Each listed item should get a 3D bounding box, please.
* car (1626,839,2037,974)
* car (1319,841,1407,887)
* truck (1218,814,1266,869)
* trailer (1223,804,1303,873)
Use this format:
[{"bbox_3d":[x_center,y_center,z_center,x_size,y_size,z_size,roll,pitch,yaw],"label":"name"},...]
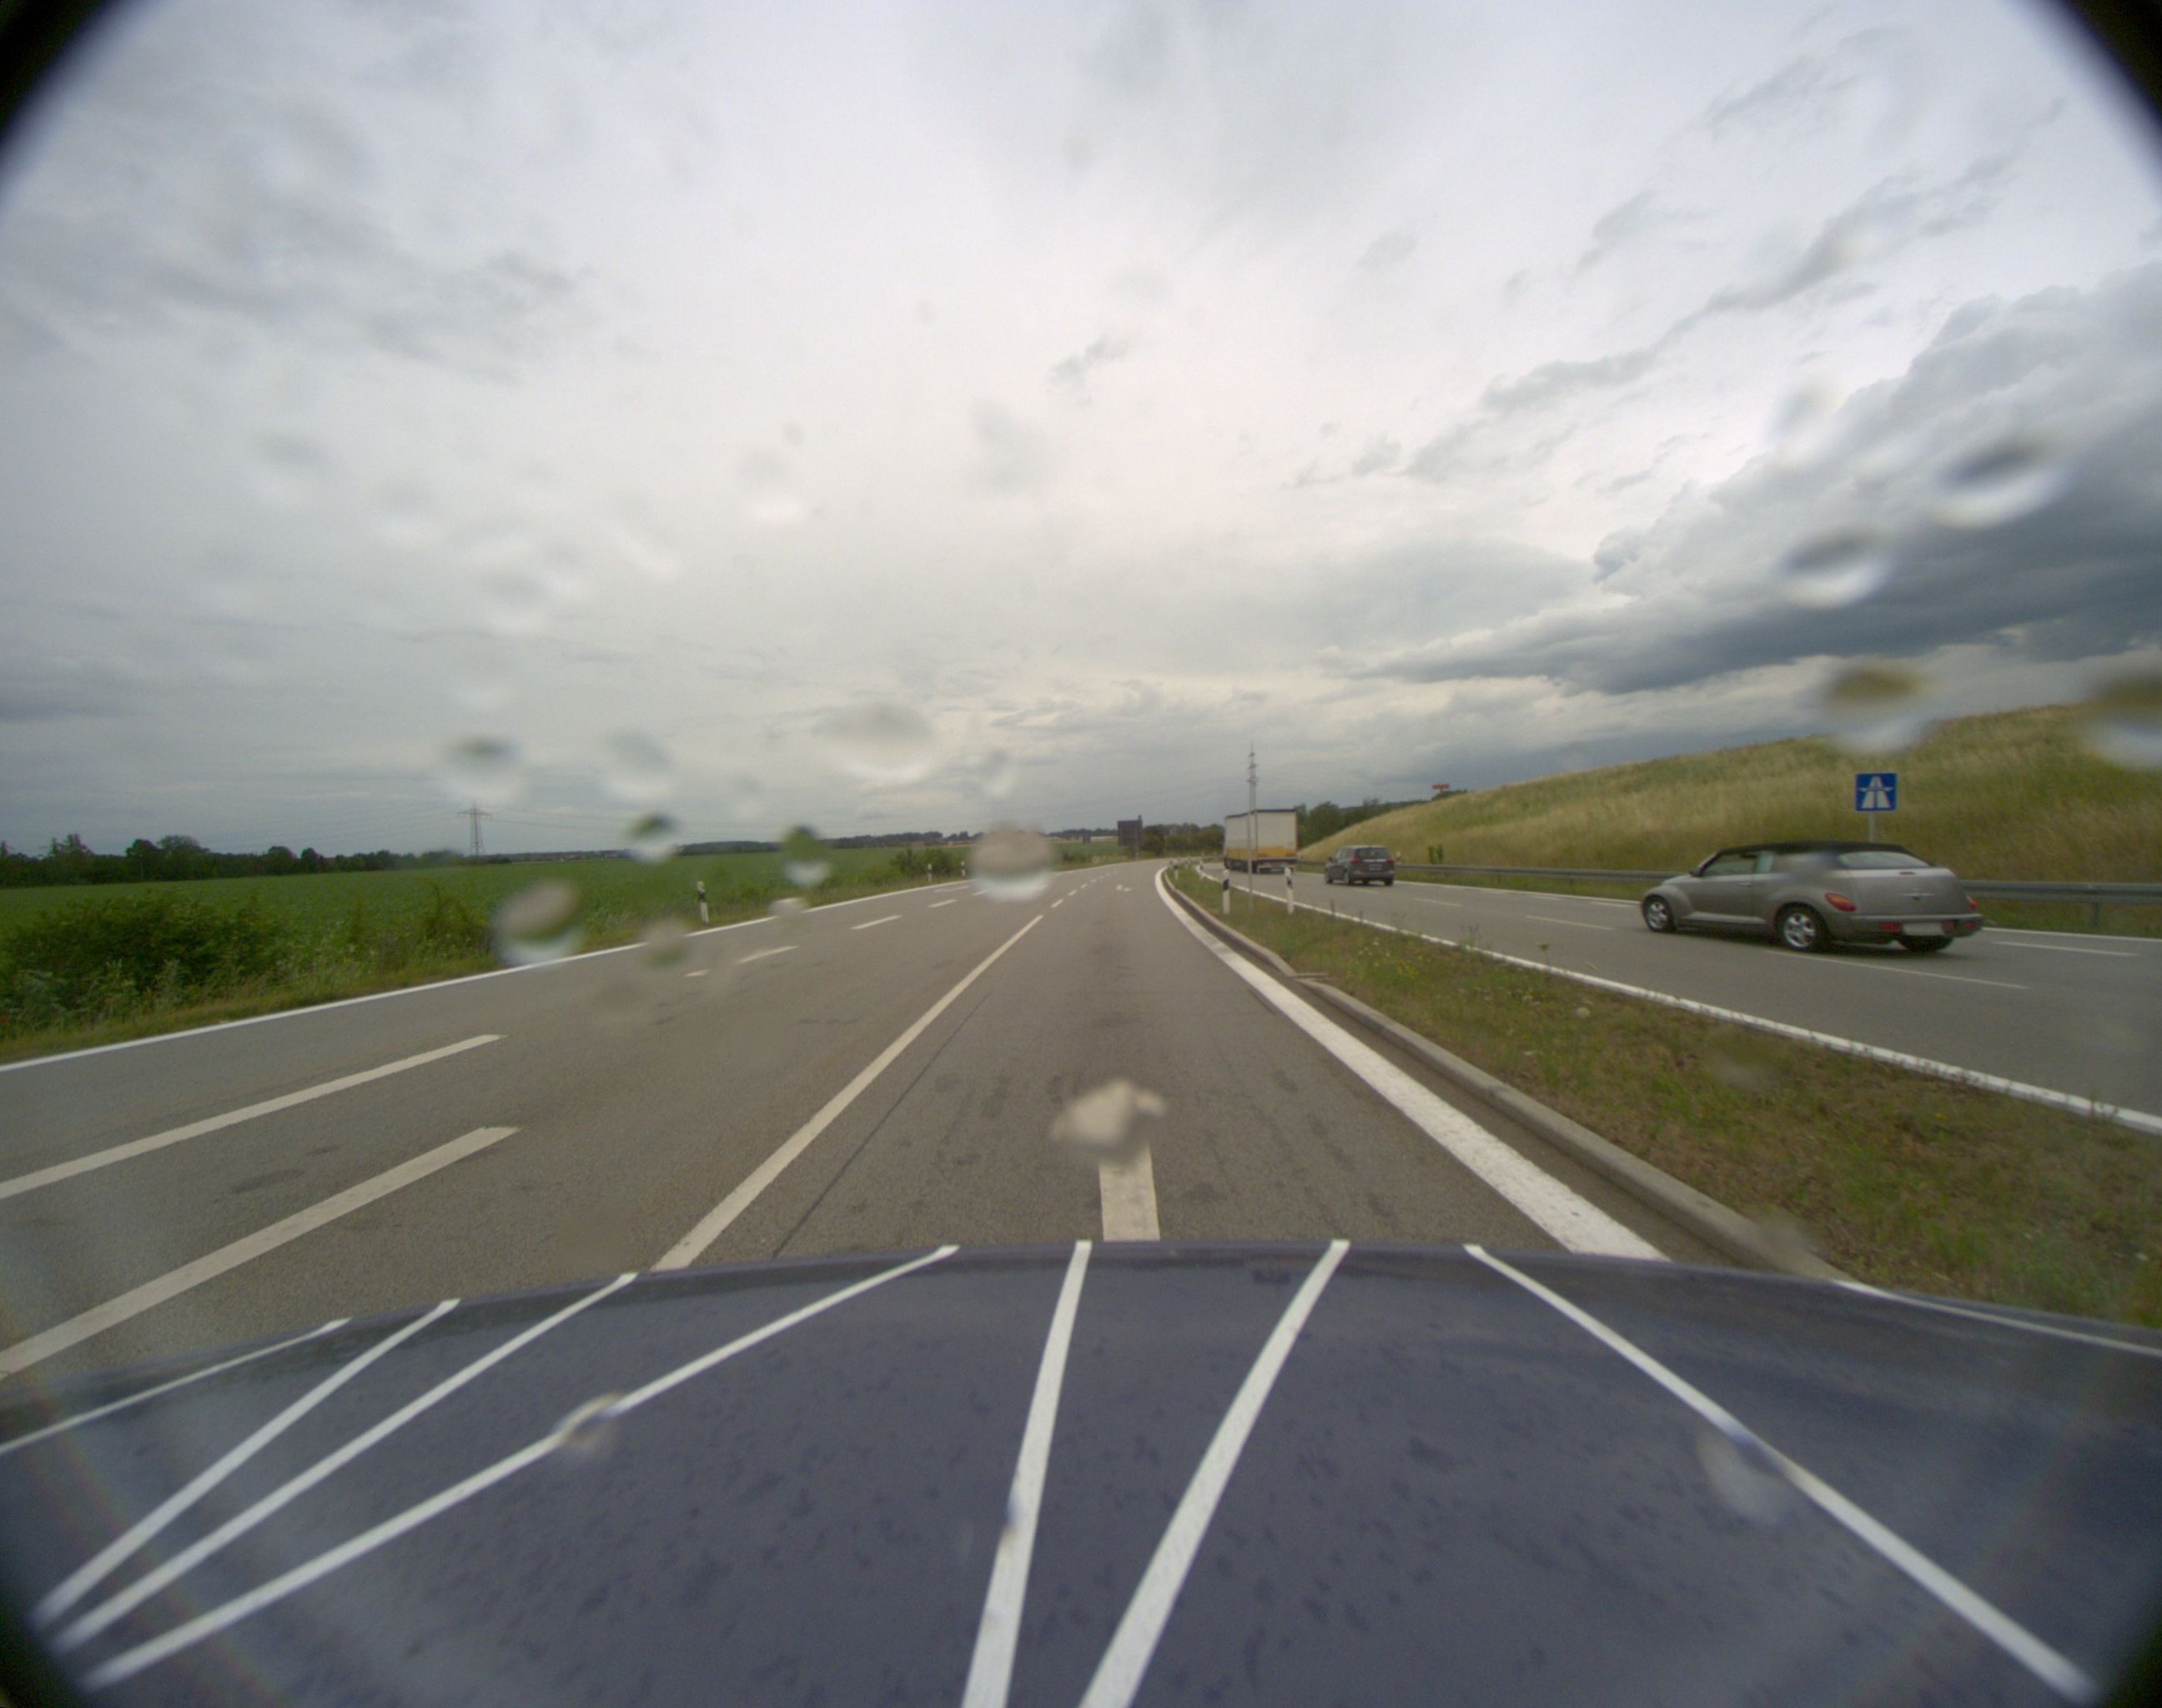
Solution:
[{"bbox_3d":[10.443,0.634,11.154,1.815,1.511,4.242,-3,0,1],"label":"car"},{"bbox_3d":[11.580,0.352,31.530,1.998,1.684,4.454,-2,1,1],"label":"car"},{"bbox_3d":[12.876,-1.044,61.148,2.656,4.118,6.403,-2,1,2],"label":"truck"},{"bbox_3d":[12.570,-1.127,53.934,2.698,4.187,13.840,-2,1,2],"label":"trailer"}]
